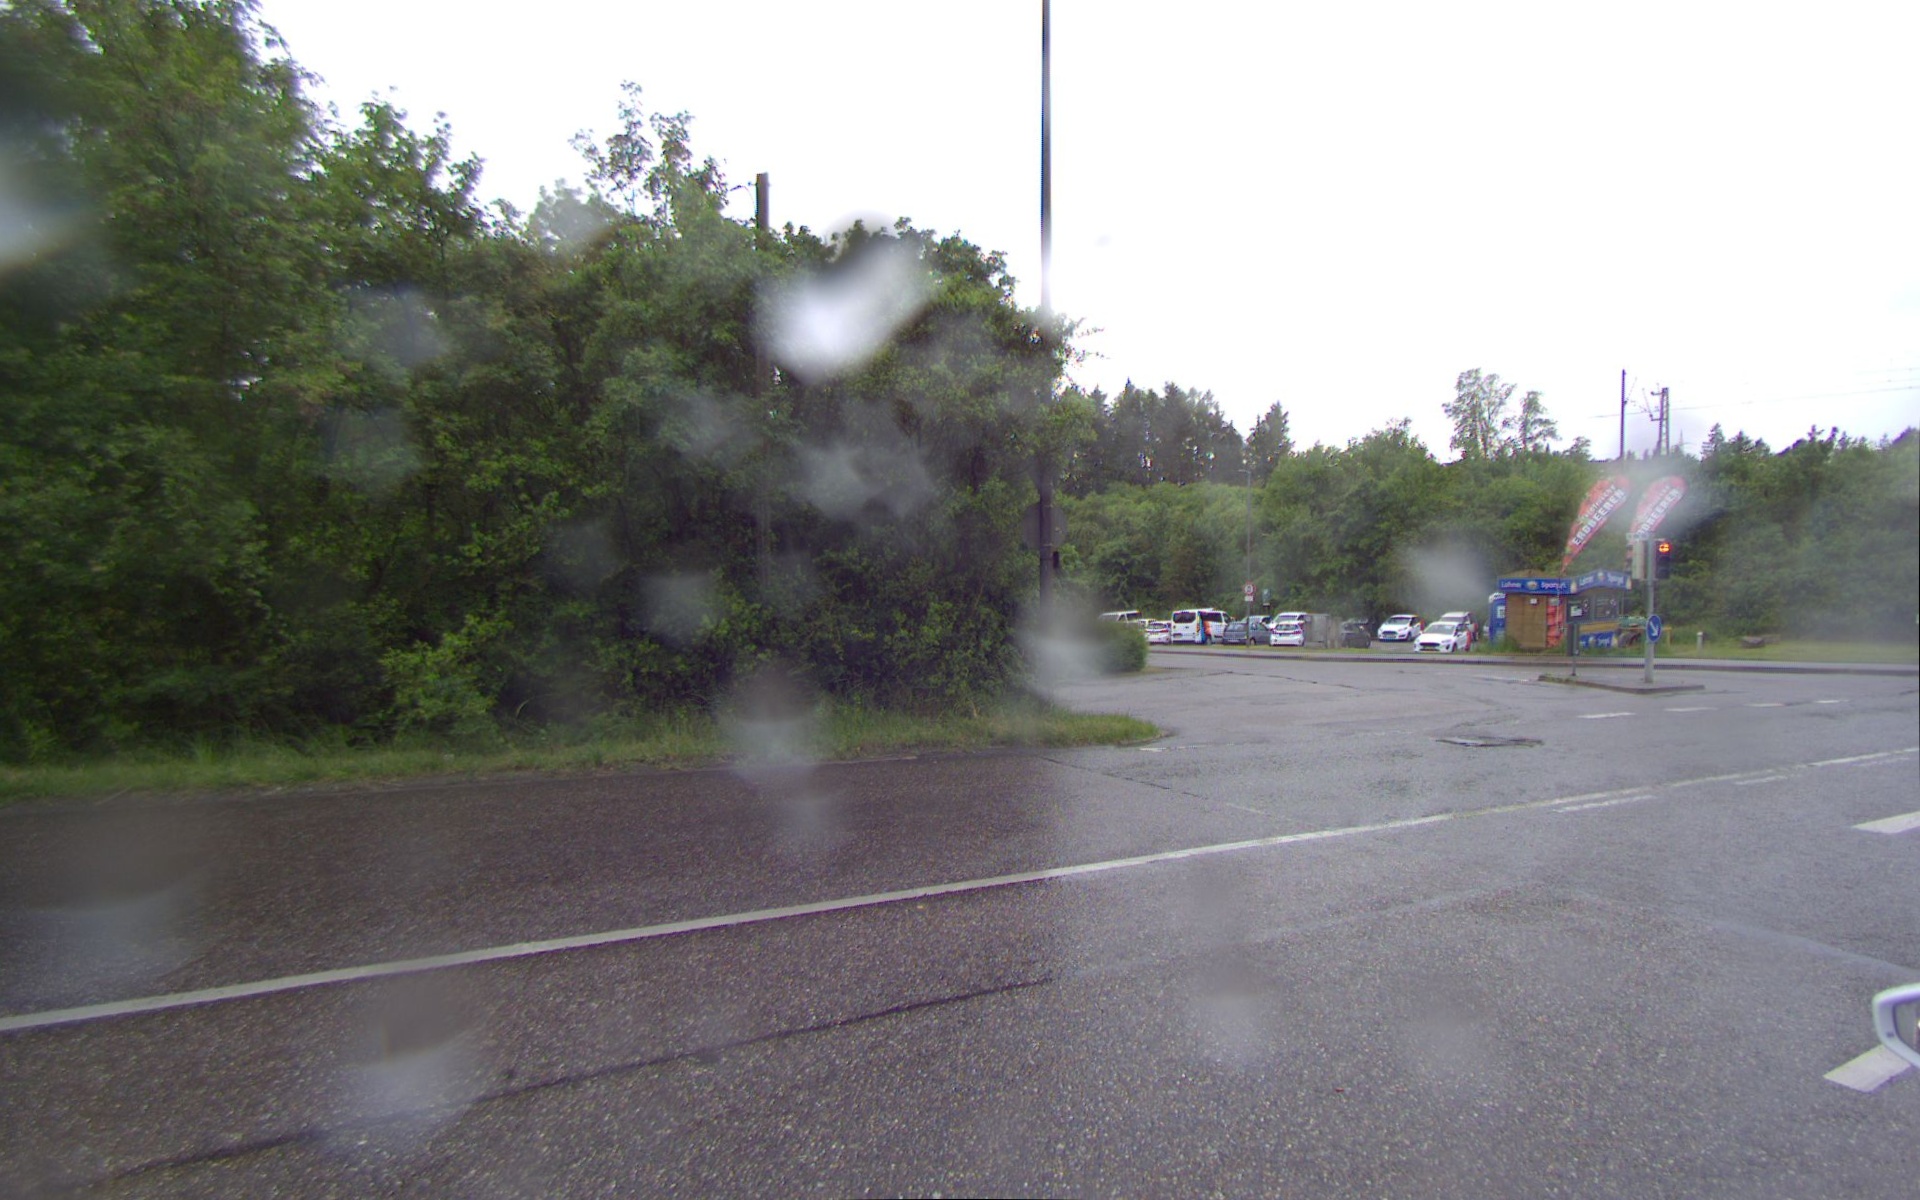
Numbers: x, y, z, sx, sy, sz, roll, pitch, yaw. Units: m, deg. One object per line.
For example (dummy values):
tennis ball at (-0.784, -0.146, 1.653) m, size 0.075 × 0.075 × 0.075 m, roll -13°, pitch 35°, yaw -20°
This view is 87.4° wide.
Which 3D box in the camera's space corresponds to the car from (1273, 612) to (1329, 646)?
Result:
car at (21.337, 1.789, 62.777) m, size 1.916 × 2.040 × 3.846 m, roll 1°, pitch 0°, yaw 43°

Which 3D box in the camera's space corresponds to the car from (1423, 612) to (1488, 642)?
car at (27.269, 1.471, 55.240) m, size 3.972 × 1.606 × 1.975 m, roll 2°, pitch -2°, yaw -43°

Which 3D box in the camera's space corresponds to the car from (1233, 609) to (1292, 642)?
car at (19.467, 1.657, 64.658) m, size 3.973 × 2.040 × 1.974 m, roll 2°, pitch -2°, yaw -44°

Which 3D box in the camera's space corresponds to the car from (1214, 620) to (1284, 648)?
car at (15.293, 1.791, 53.014) m, size 3.972 × 1.327 × 1.734 m, roll 3°, pitch -1°, yaw -43°

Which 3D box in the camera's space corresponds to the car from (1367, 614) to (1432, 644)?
car at (25.070, 1.665, 57.230) m, size 3.972 × 1.606 × 1.975 m, roll 3°, pitch -1°, yaw -43°

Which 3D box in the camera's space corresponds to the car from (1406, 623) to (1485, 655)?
car at (22.570, 1.804, 46.604) m, size 4.868 × 1.358 × 1.636 m, roll 3°, pitch -1°, yaw -43°

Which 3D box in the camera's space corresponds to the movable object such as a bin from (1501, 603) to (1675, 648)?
movable object such as a bin at (26.671, 1.068, 42.897) m, size 5.663 × 1.649 × 2.753 m, roll 2°, pitch -1°, yaw 10°

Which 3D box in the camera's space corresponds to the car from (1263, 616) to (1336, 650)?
car at (17.347, 1.704, 51.321) m, size 3.880 × 1.606 × 1.918 m, roll 3°, pitch -1°, yaw -43°

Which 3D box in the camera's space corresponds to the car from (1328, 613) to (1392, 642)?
car at (23.614, 1.640, 59.231) m, size 3.972 × 1.606 × 1.975 m, roll 3°, pitch -1°, yaw -43°

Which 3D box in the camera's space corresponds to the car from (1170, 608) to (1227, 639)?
car at (16.152, 1.578, 67.878) m, size 3.973 × 2.040 × 1.974 m, roll 2°, pitch -2°, yaw -44°

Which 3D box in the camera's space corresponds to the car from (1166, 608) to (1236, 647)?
car at (13.033, 1.513, 54.263) m, size 1.971 × 1.974 × 3.978 m, roll 1°, pitch -1°, yaw 42°

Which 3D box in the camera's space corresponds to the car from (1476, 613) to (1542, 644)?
car at (29.563, 1.541, 54.056) m, size 3.972 × 1.606 × 1.975 m, roll 2°, pitch -2°, yaw -43°

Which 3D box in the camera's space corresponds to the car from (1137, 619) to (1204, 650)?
car at (11.809, 1.949, 56.201) m, size 1.834 × 1.606 × 3.978 m, roll 1°, pitch -1°, yaw 42°

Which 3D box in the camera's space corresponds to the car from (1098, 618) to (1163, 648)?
car at (9.894, 1.925, 58.098) m, size 1.813 × 1.606 × 3.978 m, roll 1°, pitch -1°, yaw 42°
